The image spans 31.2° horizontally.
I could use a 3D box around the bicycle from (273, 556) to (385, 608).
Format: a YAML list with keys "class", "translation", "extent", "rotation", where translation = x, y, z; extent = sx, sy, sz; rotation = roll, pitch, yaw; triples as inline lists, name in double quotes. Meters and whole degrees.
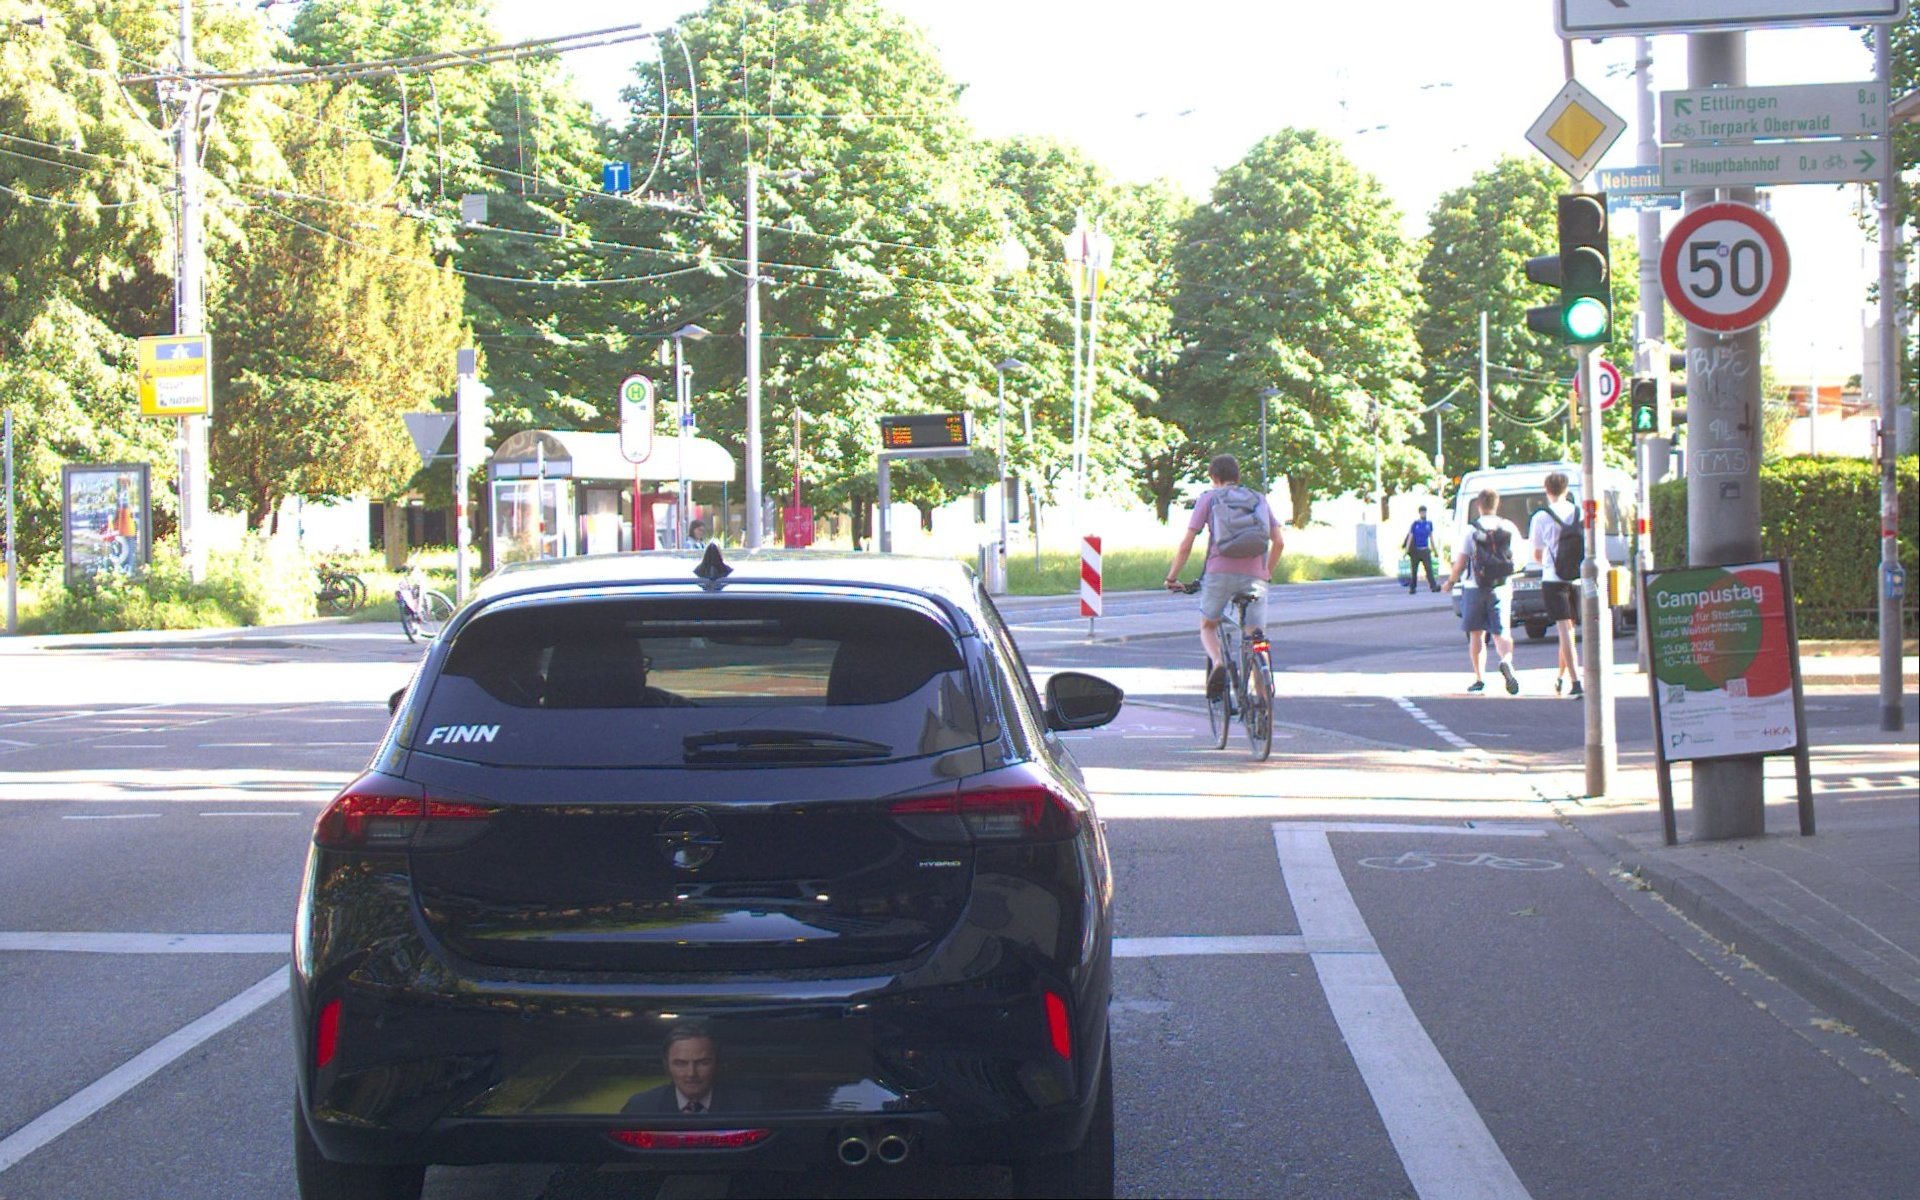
- class: "bicycle"
  translation: [-11.491, -0.329, 62.633]
  extent: [1.877, 0.903, 0.659]
  rotation: [0, 1, 6]

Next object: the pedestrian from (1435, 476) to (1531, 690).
- class: "pedestrian"
  translation: [4.432, -0.149, 29.172]
  extent: [0.698, 1.786, 0.617]
  rotation: [-1, 1, -1]

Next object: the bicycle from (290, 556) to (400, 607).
- class: "bicycle"
  translation: [-11.359, -0.341, 63.505]
  extent: [1.877, 0.903, 0.659]
  rotation: [0, 1, 6]

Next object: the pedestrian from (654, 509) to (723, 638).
- class: "pedestrian"
  translation: [-3.625, -0.359, 45.881]
  extent: [0.698, 1.687, 0.728]
  rotation: [-1, 1, -24]

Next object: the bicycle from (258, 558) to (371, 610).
- class: "bicycle"
  translation: [-11.568, -0.293, 61.648]
  extent: [1.877, 0.903, 0.659]
  rotation: [0, 1, 6]

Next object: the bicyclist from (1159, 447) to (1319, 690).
- class: "bicyclist"
  translation: [1.777, -0.215, 22.087]
  extent: [0.840, 1.504, 1.369]
  rotation: [-1, 1, -3]

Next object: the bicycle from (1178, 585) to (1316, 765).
- class: "bicycle"
  translation: [1.820, 0.453, 22.039]
  extent: [0.667, 1.056, 2.082]
  rotation: [-1, 1, -1]

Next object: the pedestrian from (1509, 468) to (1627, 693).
- class: "pedestrian"
  translation: [5.059, -0.167, 28.604]
  extent: [0.704, 1.840, 0.699]
  rotation: [0, 1, 39]

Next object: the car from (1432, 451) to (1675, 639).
- class: "car"
  translation: [7.644, -0.682, 43.986]
  extent: [2.092, 2.270, 4.301]
  rotation: [1, 0, 23]

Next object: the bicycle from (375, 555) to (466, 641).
- class: "bicycle"
  translation: [-6.967, -0.039, 44.479]
  extent: [0.825, 1.056, 1.883]
  rotation: [-1, 1, 2]

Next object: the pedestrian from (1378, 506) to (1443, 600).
- class: "pedestrian"
  translation: [8.597, -0.899, 65.604]
  extent: [0.959, 1.786, 0.994]
  rotation: [0, 1, 25]

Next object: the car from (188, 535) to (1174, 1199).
- class: "car"
  translation: [-0.496, 0.582, 8.303]
  extent: [1.800, 1.436, 3.940]
  rotation: [-1, 1, 1]
